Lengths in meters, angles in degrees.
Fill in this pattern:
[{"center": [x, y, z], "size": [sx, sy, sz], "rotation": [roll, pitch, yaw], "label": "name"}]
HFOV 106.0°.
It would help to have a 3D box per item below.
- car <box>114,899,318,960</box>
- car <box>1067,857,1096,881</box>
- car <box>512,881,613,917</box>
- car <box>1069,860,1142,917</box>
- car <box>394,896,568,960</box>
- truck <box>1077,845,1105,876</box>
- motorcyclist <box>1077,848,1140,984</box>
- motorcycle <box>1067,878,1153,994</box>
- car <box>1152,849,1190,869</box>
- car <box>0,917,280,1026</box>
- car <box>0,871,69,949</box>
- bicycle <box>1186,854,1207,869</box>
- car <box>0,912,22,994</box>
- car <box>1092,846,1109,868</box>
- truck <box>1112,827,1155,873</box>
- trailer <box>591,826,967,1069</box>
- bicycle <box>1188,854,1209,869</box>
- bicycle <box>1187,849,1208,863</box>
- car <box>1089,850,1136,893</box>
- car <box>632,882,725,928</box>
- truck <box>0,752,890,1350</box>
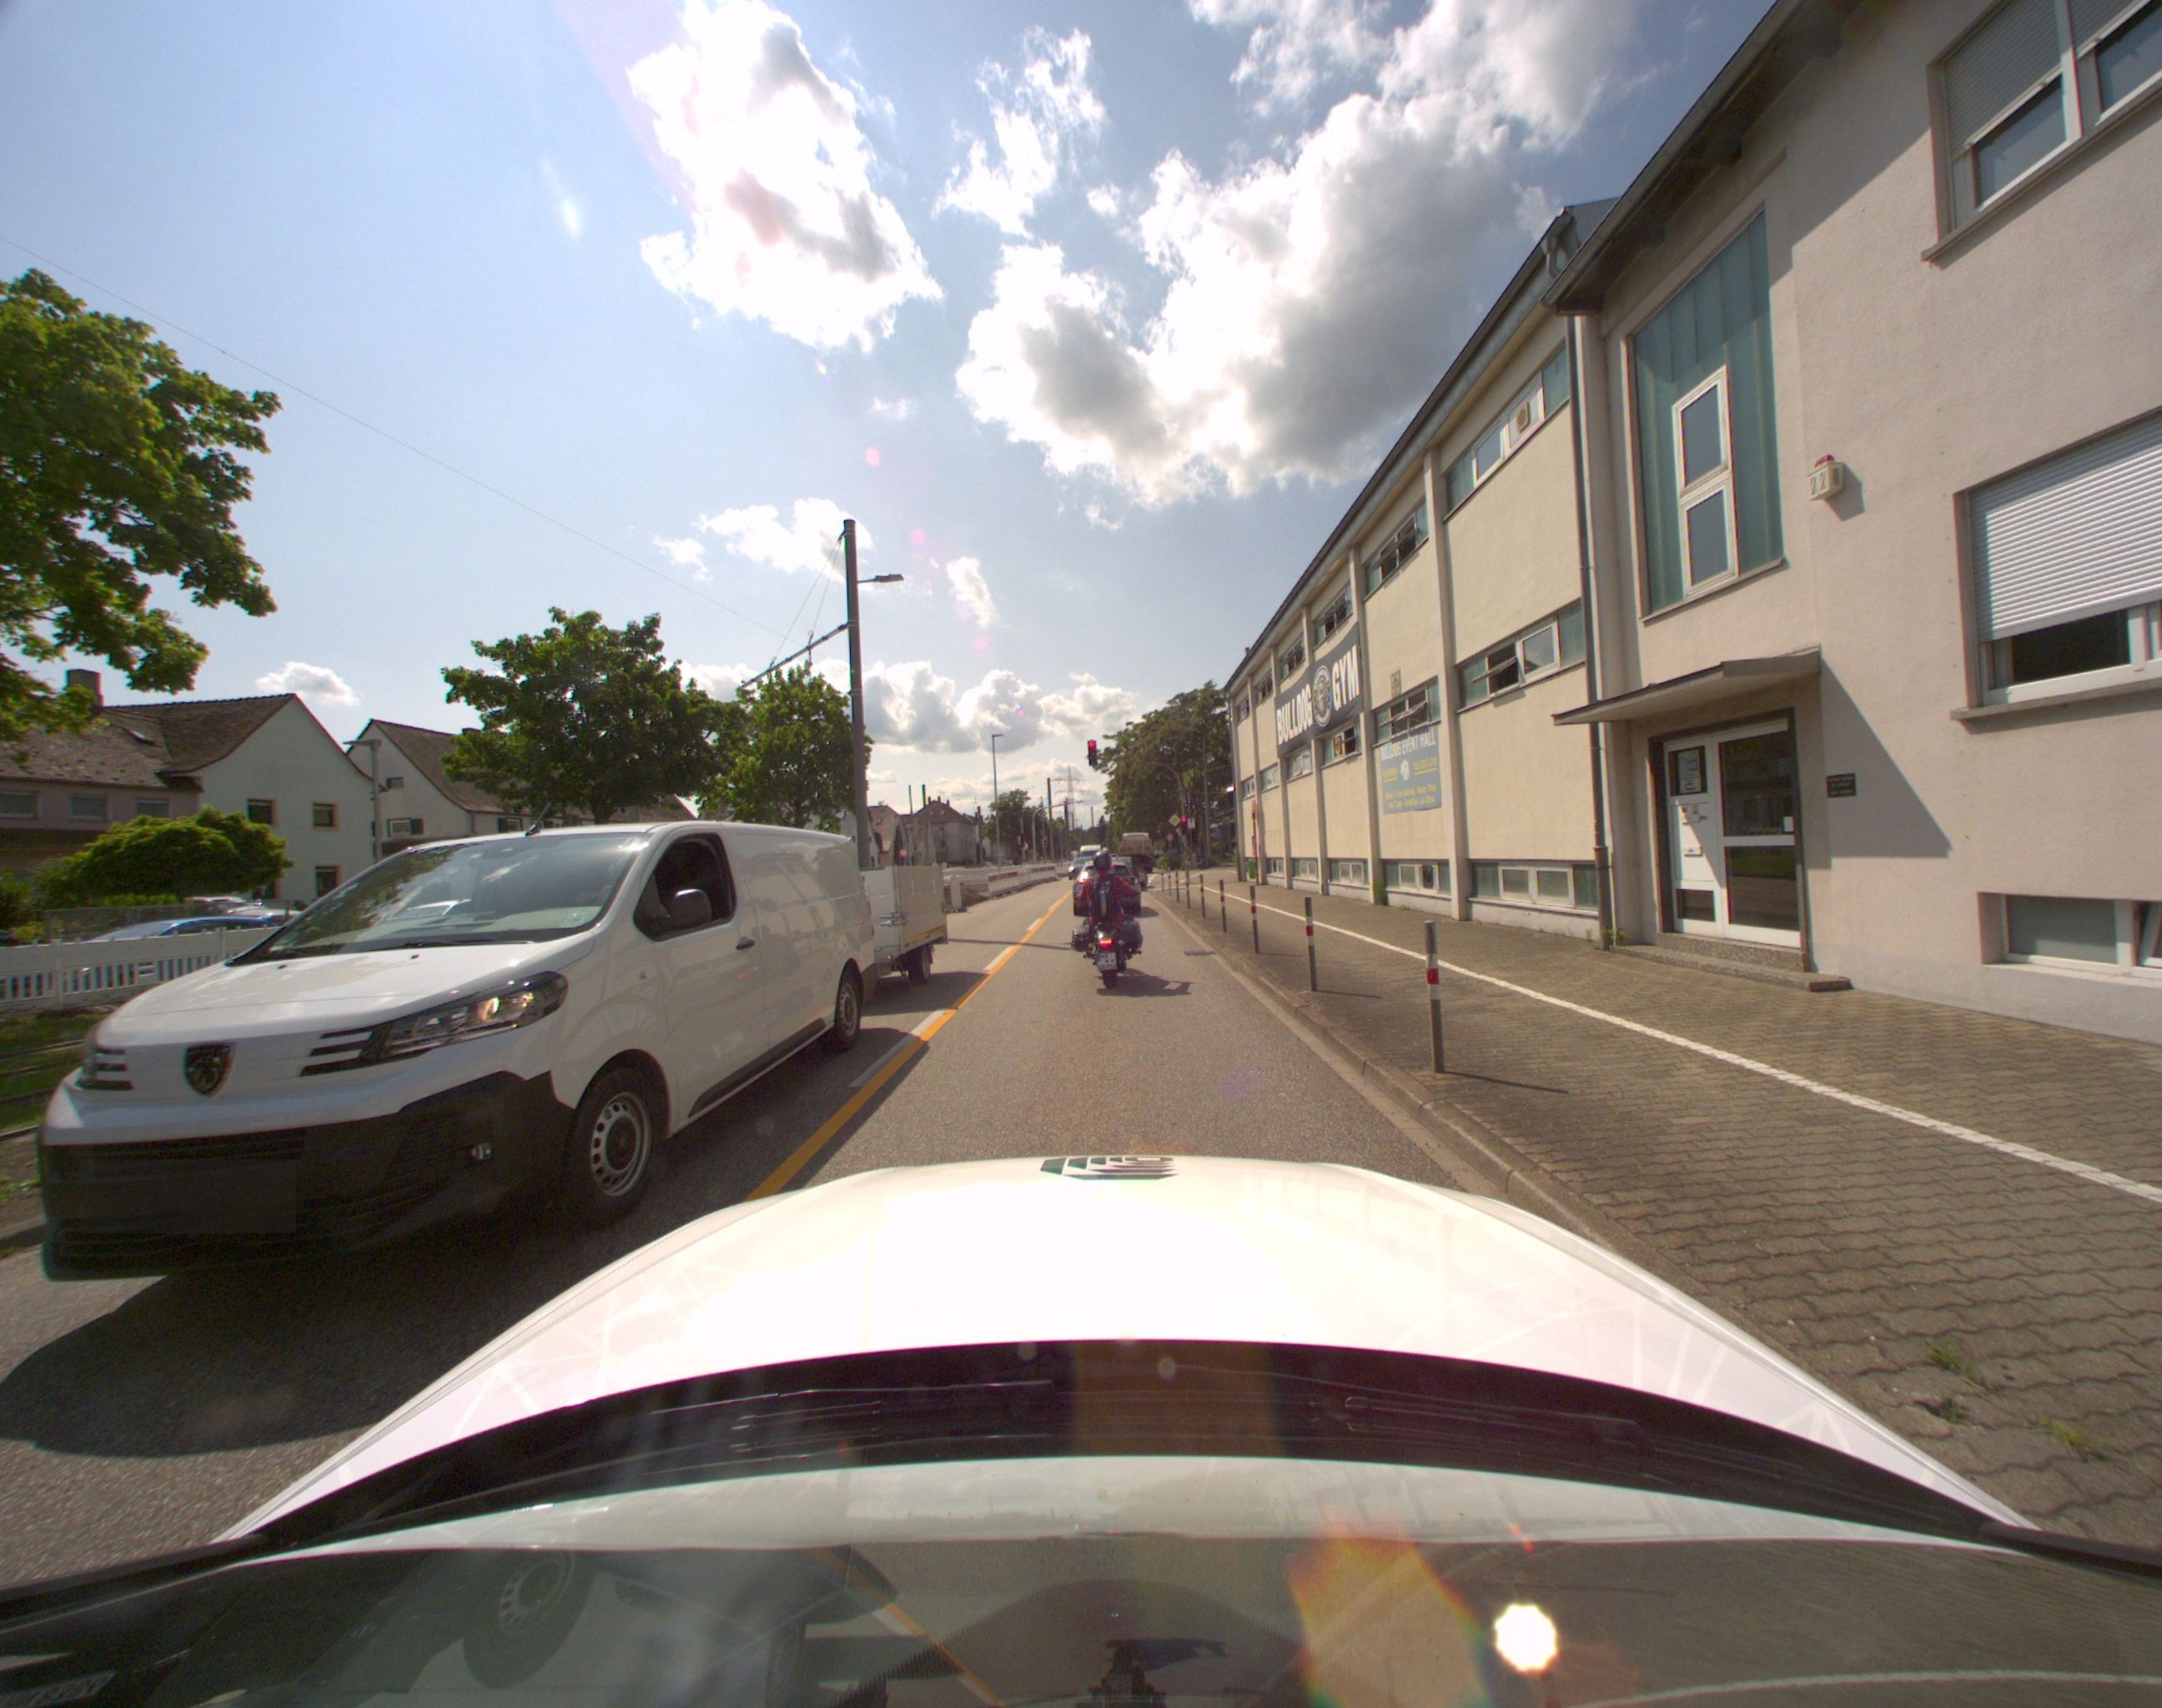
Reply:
[{"center": [-28.436, 2.457, 26.910], "size": [4.405, 1.686, 1.794], "rotation": [-1, -1, -9], "label": "car"}, {"center": [0.086, 0.984, 55.153], "size": [1.638, 1.498, 4.272], "rotation": [-3, 0, 3], "label": "car"}, {"center": [-26.345, 2.265, 41.460], "size": [3.972, 1.509, 1.726], "rotation": [-4, 0, 0], "label": "car"}, {"center": [0.584, 0.880, 22.696], "size": [1.727, 1.403, 4.082], "rotation": [-1, 0, -2], "label": "car"}, {"center": [-15.103, 1.815, 20.765], "size": [1.497, 1.176, 3.750], "rotation": [-4, 0, 2], "label": "car"}, {"center": [0.907, 0.536, 72.644], "size": [2.084, 2.476, 5.200], "rotation": [-5, 1, 3], "label": "truck"}, {"center": [0.340, 0.738, 10.016], "size": [0.695, 1.604, 0.692], "rotation": [-2, -1, 2], "label": "motorcyclist"}, {"center": [0.369, 0.949, 10.339], "size": [0.939, 1.200, 2.474], "rotation": [-1, 0, 2], "label": "motorcycle"}, {"center": [9.559, 0.523, 86.215], "size": [4.022, 1.926, 1.781], "rotation": [-1, -1, -43], "label": "car"}, {"center": [-15.908, 1.906, 13.867], "size": [1.336, 1.325, 3.169], "rotation": [-3, 0, 0], "label": "car"}, {"center": [-28.996, 1.485, 20.495], "size": [1.986, 2.014, 4.001], "rotation": [-2, -1, 1], "label": "car"}, {"center": [9.450, 0.646, 66.771], "size": [1.698, 1.172, 0.439], "rotation": [-2, -1, 7], "label": "bicycle"}, {"center": [-20.745, 1.883, 13.702], "size": [1.378, 1.495, 3.312], "rotation": [-3, 0, 2], "label": "car"}, {"center": [2.072, 0.339, 85.401], "size": [1.582, 2.143, 3.629], "rotation": [-2, -1, 3], "label": "car"}, {"center": [4.045, -0.235, 61.407], "size": [2.954, 3.173, 7.773], "rotation": [-2, -1, 5], "label": "truck"}, {"center": [-2.905, 0.807, 9.527], "size": [2.055, 1.835, 5.487], "rotation": [-5, -1, 2], "label": "trailer"}, {"center": [9.542, 0.635, 66.172], "size": [1.698, 1.172, 0.439], "rotation": [-2, -1, 7], "label": "bicycle"}, {"center": [9.609, 0.165, 67.375], "size": [1.698, 1.172, 0.439], "rotation": [-2, -1, 7], "label": "bicycle"}, {"center": [1.560, 0.756, 38.689], "size": [1.892, 1.712, 4.726], "rotation": [-4, 1, 5], "label": "car"}, {"center": [-15.116, 1.863, 30.854], "size": [1.537, 1.376, 4.246], "rotation": [-4, 0, -4], "label": "car"}, {"center": [-2.916, 0.722, 5.381], "size": [1.813, 1.909, 5.117], "rotation": [-5, -1, 1], "label": "truck"}]
